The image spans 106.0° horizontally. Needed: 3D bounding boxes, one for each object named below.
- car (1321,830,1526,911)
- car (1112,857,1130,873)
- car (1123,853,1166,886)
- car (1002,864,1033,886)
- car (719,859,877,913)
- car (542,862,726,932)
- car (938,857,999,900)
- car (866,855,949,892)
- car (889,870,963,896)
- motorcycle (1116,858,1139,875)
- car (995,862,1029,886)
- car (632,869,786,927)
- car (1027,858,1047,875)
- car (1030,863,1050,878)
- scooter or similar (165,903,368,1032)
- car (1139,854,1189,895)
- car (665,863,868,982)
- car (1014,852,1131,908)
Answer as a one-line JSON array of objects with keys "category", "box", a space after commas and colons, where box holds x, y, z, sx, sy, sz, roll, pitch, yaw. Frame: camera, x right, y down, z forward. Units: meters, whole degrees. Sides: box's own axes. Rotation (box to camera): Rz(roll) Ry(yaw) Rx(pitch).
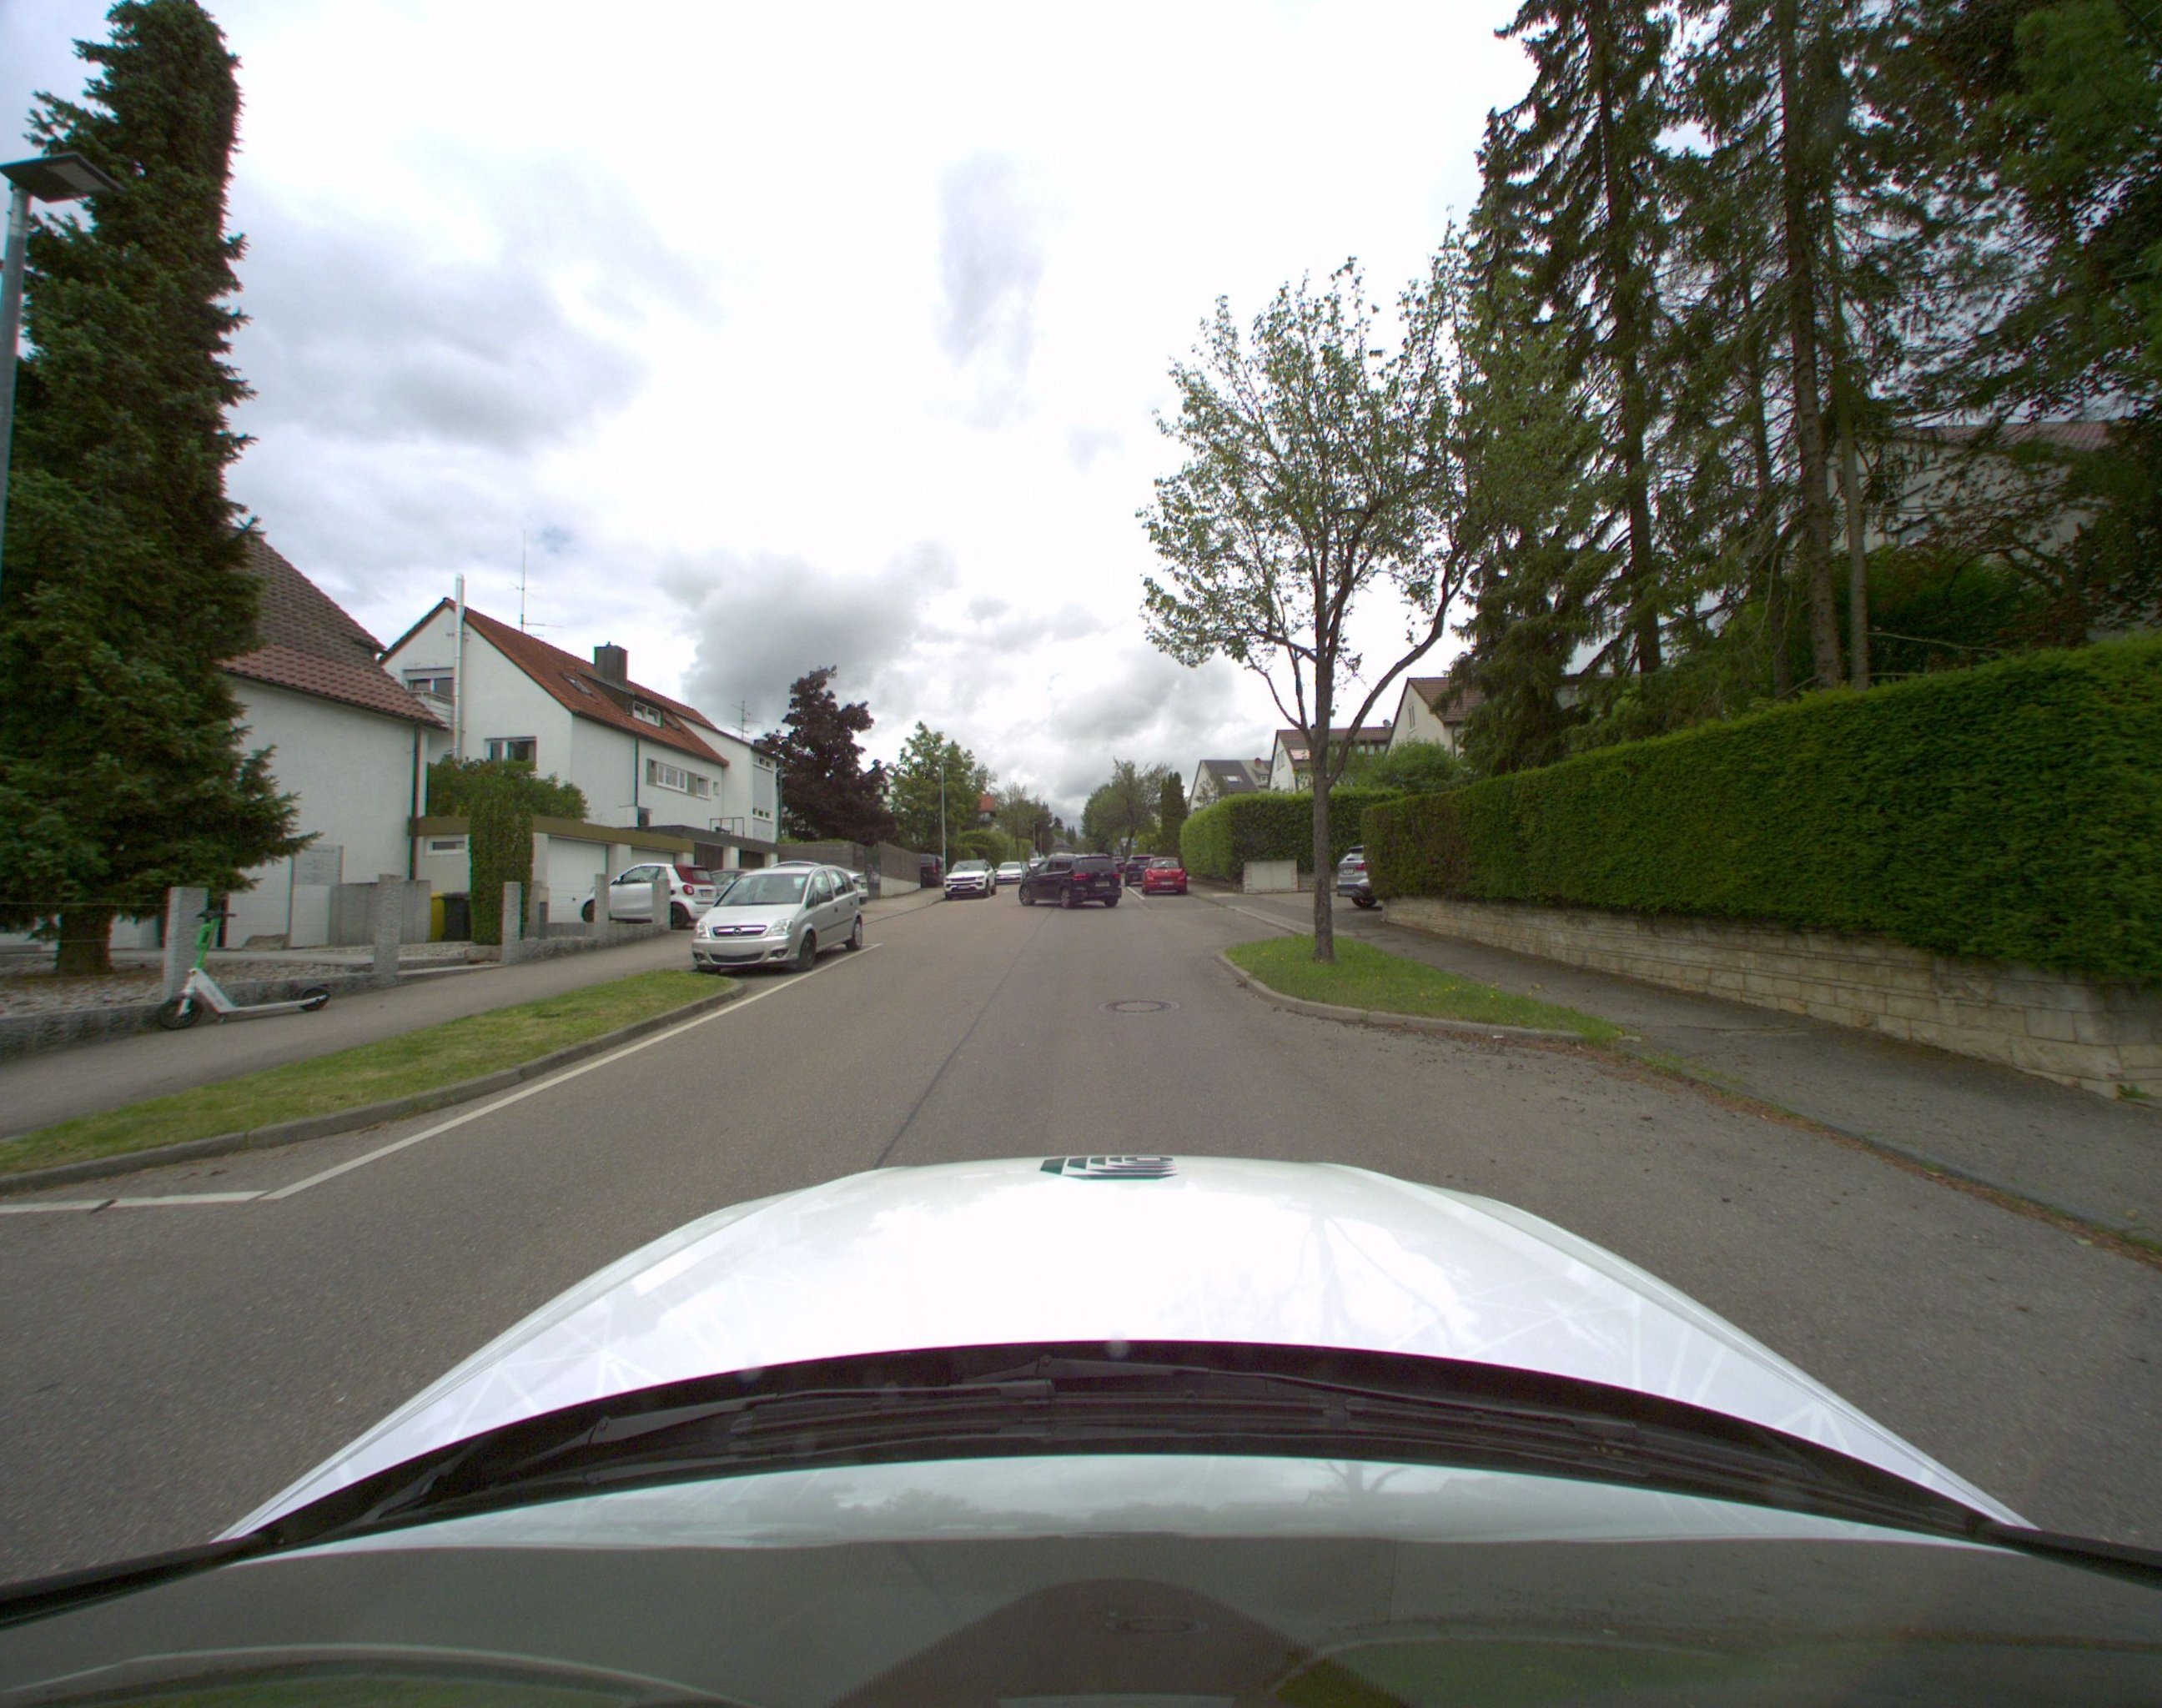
[{"category": "car", "box": [8.305, 0.374, 19.919, 4.206, 1.599, 1.876, -4, 0, -9]}, {"category": "car", "box": [4.175, 1.130, 85.629, 1.876, 1.533, 4.476, -1, 0, 1]}, {"category": "car", "box": [3.292, 0.801, 42.873, 1.986, 1.618, 4.514, 0, -1, 1]}, {"category": "car", "box": [-4.515, 1.454, 58.488, 1.721, 1.423, 4.079, -3, -1, 1]}, {"category": "car", "box": [-9.035, 0.993, 26.270, 4.398, 1.629, 1.910, 1, -1, -1]}, {"category": "car", "box": [-10.514, 1.005, 19.322, 3.416, 1.578, 1.657, 0, -2, 1]}, {"category": "car", "box": [-4.822, 1.010, 35.426, 1.831, 1.666, 4.409, -4, 0, 1]}, {"category": "car", "box": [-9.758, 1.103, 45.869, 4.049, 1.950, 2.004, -2, -2, 8]}, {"category": "car", "box": [-9.307, 1.737, 49.044, 3.959, 1.445, 1.785, -2, -1, 13]}, {"category": "motorcycle", "box": [3.879, 1.020, 67.994, 1.876, 1.346, 0.593, -2, -1, -36]}, {"category": "car", "box": [-4.509, 1.297, 53.904, 1.831, 1.422, 4.407, -4, 0, 0]}, {"category": "car", "box": [-10.161, 1.180, 22.432, 3.416, 1.512, 1.693, 0, -2, 1]}, {"category": "car", "box": [-4.225, 1.205, 78.372, 1.718, 1.540, 3.997, -3, 0, -2]}, {"category": "car", "box": [-4.250, 1.732, 84.348, 1.756, 1.388, 3.999, -4, -2, 0]}, {"category": "scooter or similar", "box": [-8.528, 1.141, 8.603, 0.470, 1.148, 1.461, 0, 0, 16]}, {"category": "car", "box": [3.307, 0.781, 33.157, 1.655, 1.508, 3.758, -2, 0, 1]}, {"category": "car", "box": [-4.957, 0.993, 13.462, 1.755, 1.563, 3.855, -3, 0, 0]}, {"category": "car", "box": [-0.372, 0.822, 26.132, 1.859, 1.611, 4.269, -1, -1, -30]}]
